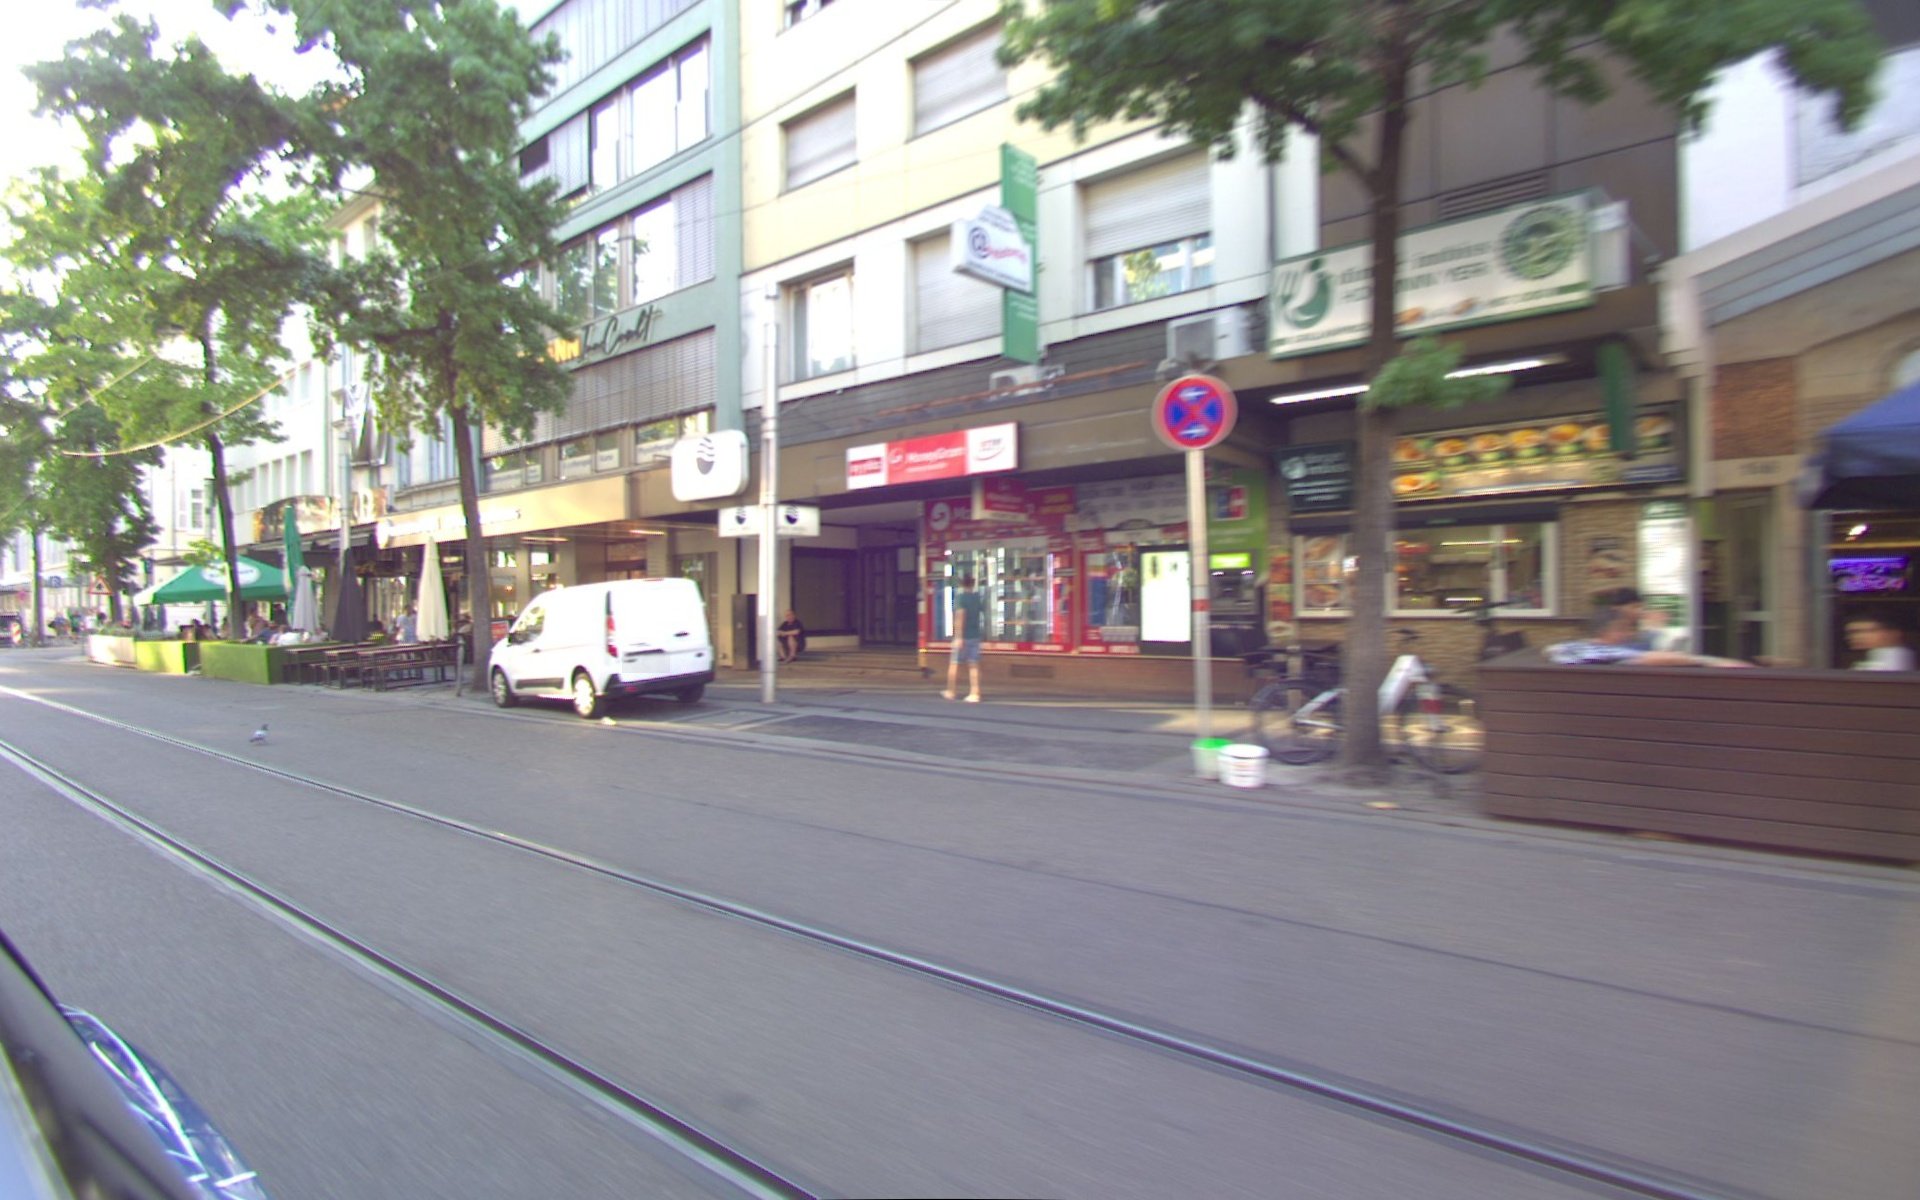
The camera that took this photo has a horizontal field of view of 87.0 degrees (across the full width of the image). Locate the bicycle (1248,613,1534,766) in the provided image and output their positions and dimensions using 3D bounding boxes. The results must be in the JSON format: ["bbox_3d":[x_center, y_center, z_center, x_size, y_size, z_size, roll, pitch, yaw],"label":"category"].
[{"bbox_3d":[3.531,0.730,8.446,2.073,1.129,0.694,-2,1,23],"label":"bicycle"}]

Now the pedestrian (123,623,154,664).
[{"bbox_3d":[-28.985,1.526,35.725,0.806,1.397,0.682,-1,1,41],"label":"pedestrian"}]

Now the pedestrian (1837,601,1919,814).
[{"bbox_3d":[5.717,0.630,6.159,0.535,1.237,0.490,-1,0,40],"label":"pedestrian"}]

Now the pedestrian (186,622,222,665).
[{"bbox_3d":[-23.397,1.343,31.310,0.869,1.269,0.700,-1,1,43],"label":"pedestrian"}]

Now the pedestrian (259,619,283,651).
[{"bbox_3d":[-25.800,1.311,37.871,0.686,1.170,0.547,-1,1,41],"label":"pedestrian"}]

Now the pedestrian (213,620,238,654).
[{"bbox_3d":[-28.579,1.441,39.376,0.727,1.291,0.620,-1,1,41],"label":"pedestrian"}]

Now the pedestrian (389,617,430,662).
[{"bbox_3d":[-15.420,1.094,28.345,0.787,1.176,0.693,-1,2,40],"label":"pedestrian"}]

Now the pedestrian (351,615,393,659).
[{"bbox_3d":[-17.707,1.116,30.487,0.944,1.246,0.769,-1,2,40],"label":"pedestrian"}]

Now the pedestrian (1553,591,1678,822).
[{"bbox_3d":[4.156,0.637,6.419,0.582,1.366,0.544,-1,0,40],"label":"pedestrian"}]

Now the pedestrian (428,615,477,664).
[{"bbox_3d":[-13.391,1.033,26.703,1.064,1.197,0.745,-1,2,40],"label":"pedestrian"}]

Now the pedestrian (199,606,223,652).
[{"bbox_3d":[-30.149,1.158,40.740,0.675,1.829,0.766,-3,1,-34],"label":"pedestrian"}]

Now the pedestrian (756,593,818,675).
[{"bbox_3d":[-3.256,0.627,19.052,0.764,1.477,0.762,-1,2,38],"label":"pedestrian"}]

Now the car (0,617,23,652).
[{"bbox_3d":[-52.794,1.874,55.344,4.557,1.846,1.838,-1,0,42],"label":"car"}]

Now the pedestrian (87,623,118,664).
[{"bbox_3d":[-30.600,1.541,36.112,0.806,1.397,0.682,-1,1,41],"label":"pedestrian"}]

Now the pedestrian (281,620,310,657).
[{"bbox_3d":[-22.390,1.288,34.096,0.686,1.183,0.595,-1,1,41],"label":"pedestrian"}]

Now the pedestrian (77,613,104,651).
[{"bbox_3d":[-42.202,1.538,49.115,0.984,1.805,0.766,-1,2,42],"label":"pedestrian"}]

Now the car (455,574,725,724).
[{"bbox_3d":[-5.653,0.656,15.164,4.551,1.878,1.777,-1,2,42],"label":"car"}]

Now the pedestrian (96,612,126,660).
[{"bbox_3d":[-32.435,1.363,38.649,0.687,1.805,0.748,-1,1,44],"label":"pedestrian"}]

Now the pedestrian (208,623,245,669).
[{"bbox_3d":[-20.734,1.289,28.608,0.696,1.254,0.613,-1,2,40],"label":"pedestrian"}]

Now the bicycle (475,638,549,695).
[{"bbox_3d":[-8.290,1.214,18.807,0.823,0.871,1.865,-3,1,-11],"label":"bicycle"}]

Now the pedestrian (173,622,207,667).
[{"bbox_3d":[-24.451,1.401,32.150,0.781,1.357,0.700,-1,1,43],"label":"pedestrian"}]

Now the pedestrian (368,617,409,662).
[{"bbox_3d":[-16.496,1.122,29.206,0.787,1.222,0.729,-1,2,40],"label":"pedestrian"}]

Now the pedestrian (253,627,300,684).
[{"bbox_3d":[-16.188,1.300,23.970,0.872,1.253,0.650,-1,2,40],"label":"pedestrian"}]

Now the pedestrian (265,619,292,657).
[{"bbox_3d":[-24.488,1.349,36.382,0.686,1.308,0.596,-1,1,41],"label":"pedestrian"}]

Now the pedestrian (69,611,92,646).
[{"bbox_3d":[-47.573,1.556,54.723,0.875,1.826,0.712,-1,2,40],"label":"pedestrian"}]

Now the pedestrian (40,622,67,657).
[{"bbox_3d":[-48.215,2.101,53.844,0.884,1.795,0.857,-1,2,40],"label":"pedestrian"}]

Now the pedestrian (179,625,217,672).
[{"bbox_3d":[-21.046,1.332,27.954,0.696,1.254,0.613,-1,2,40],"label":"pedestrian"}]

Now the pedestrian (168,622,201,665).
[{"bbox_3d":[-25.096,1.390,32.745,0.806,1.321,0.682,-1,1,41],"label":"pedestrian"}]

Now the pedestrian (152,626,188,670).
[{"bbox_3d":[-23.972,1.449,30.718,0.772,1.269,0.700,-1,1,43],"label":"pedestrian"}]

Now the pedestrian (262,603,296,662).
[{"bbox_3d":[-21.162,1.008,31.438,0.697,1.770,0.671,-1,1,42],"label":"pedestrian"}]

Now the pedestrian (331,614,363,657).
[{"bbox_3d":[-19.413,1.125,32.051,0.696,1.319,0.613,-1,2,40],"label":"pedestrian"}]

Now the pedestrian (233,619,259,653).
[{"bbox_3d":[-28.100,1.417,39.828,0.738,1.279,0.638,-1,1,41],"label":"pedestrian"}]

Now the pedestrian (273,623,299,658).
[{"bbox_3d":[-23.141,1.375,34.739,0.686,1.170,0.547,-1,1,41],"label":"pedestrian"}]

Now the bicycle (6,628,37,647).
[{"bbox_3d":[-56.684,2.269,61.146,2.038,1.130,0.753,-2,2,30],"label":"bicycle"}]

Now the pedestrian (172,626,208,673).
[{"bbox_3d":[-21.833,1.390,28.709,0.696,1.254,0.613,-1,2,40],"label":"pedestrian"}]

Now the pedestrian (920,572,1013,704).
[{"bbox_3d":[0.084,0.498,13.653,1.004,1.698,0.660,-1,1,40],"label":"pedestrian"}]

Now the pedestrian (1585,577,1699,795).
[{"bbox_3d":[4.764,0.567,7.067,0.582,1.440,0.544,-1,0,40],"label":"pedestrian"}]

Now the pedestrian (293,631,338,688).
[{"bbox_3d":[-15.619,1.439,24.530,0.797,1.303,0.650,-1,2,40],"label":"pedestrian"}]

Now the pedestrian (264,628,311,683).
[{"bbox_3d":[-15.636,1.282,23.521,0.797,1.202,0.650,-1,2,40],"label":"pedestrian"}]

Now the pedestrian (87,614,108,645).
[{"bbox_3d":[-46.084,1.576,54.076,0.967,1.669,0.699,-2,-2,42],"label":"pedestrian"}]

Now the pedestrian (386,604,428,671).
[{"bbox_3d":[-13.631,0.922,24.953,0.700,1.586,0.641,-1,2,40],"label":"pedestrian"}]

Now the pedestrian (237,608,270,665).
[{"bbox_3d":[-21.548,1.100,30.882,0.696,1.683,0.612,-1,1,40],"label":"pedestrian"}]

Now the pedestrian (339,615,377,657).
[{"bbox_3d":[-18.713,1.109,31.471,0.787,1.241,0.729,-1,2,40],"label":"pedestrian"}]

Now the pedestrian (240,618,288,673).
[{"bbox_3d":[-18.109,1.172,26.319,0.872,1.353,0.747,-1,2,40],"label":"pedestrian"}]

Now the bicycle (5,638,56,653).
[{"bbox_3d":[-46.018,2.249,50.125,1.282,0.613,1.776,-1,1,43],"label":"bicycle"}]
